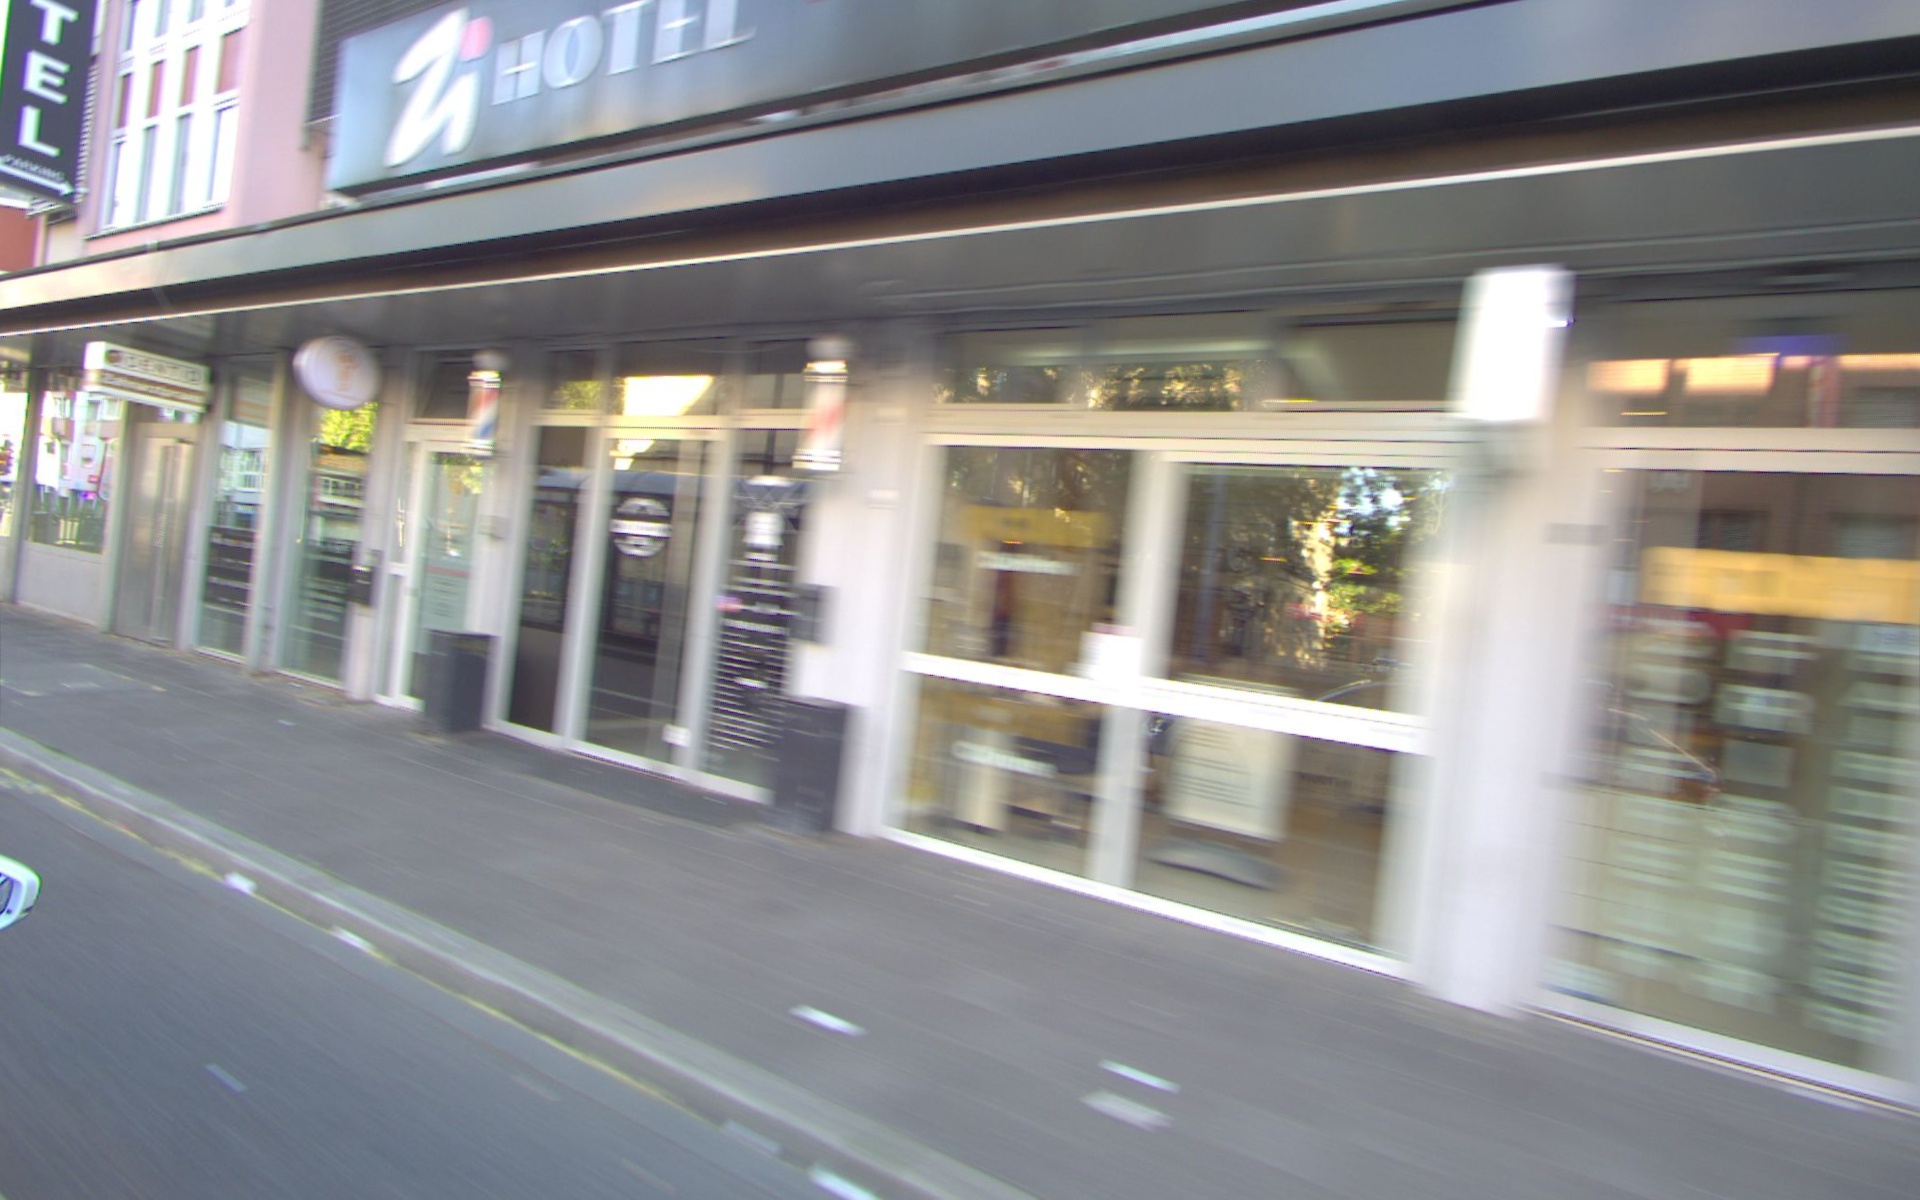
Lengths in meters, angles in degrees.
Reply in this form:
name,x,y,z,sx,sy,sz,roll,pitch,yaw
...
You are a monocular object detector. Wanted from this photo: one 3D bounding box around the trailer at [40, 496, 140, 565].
name,x,y,z,sx,sy,sz,roll,pitch,yaw
trailer,-26.694,-2.139,30.831,3.883,1.754,1.961,5,0,45
